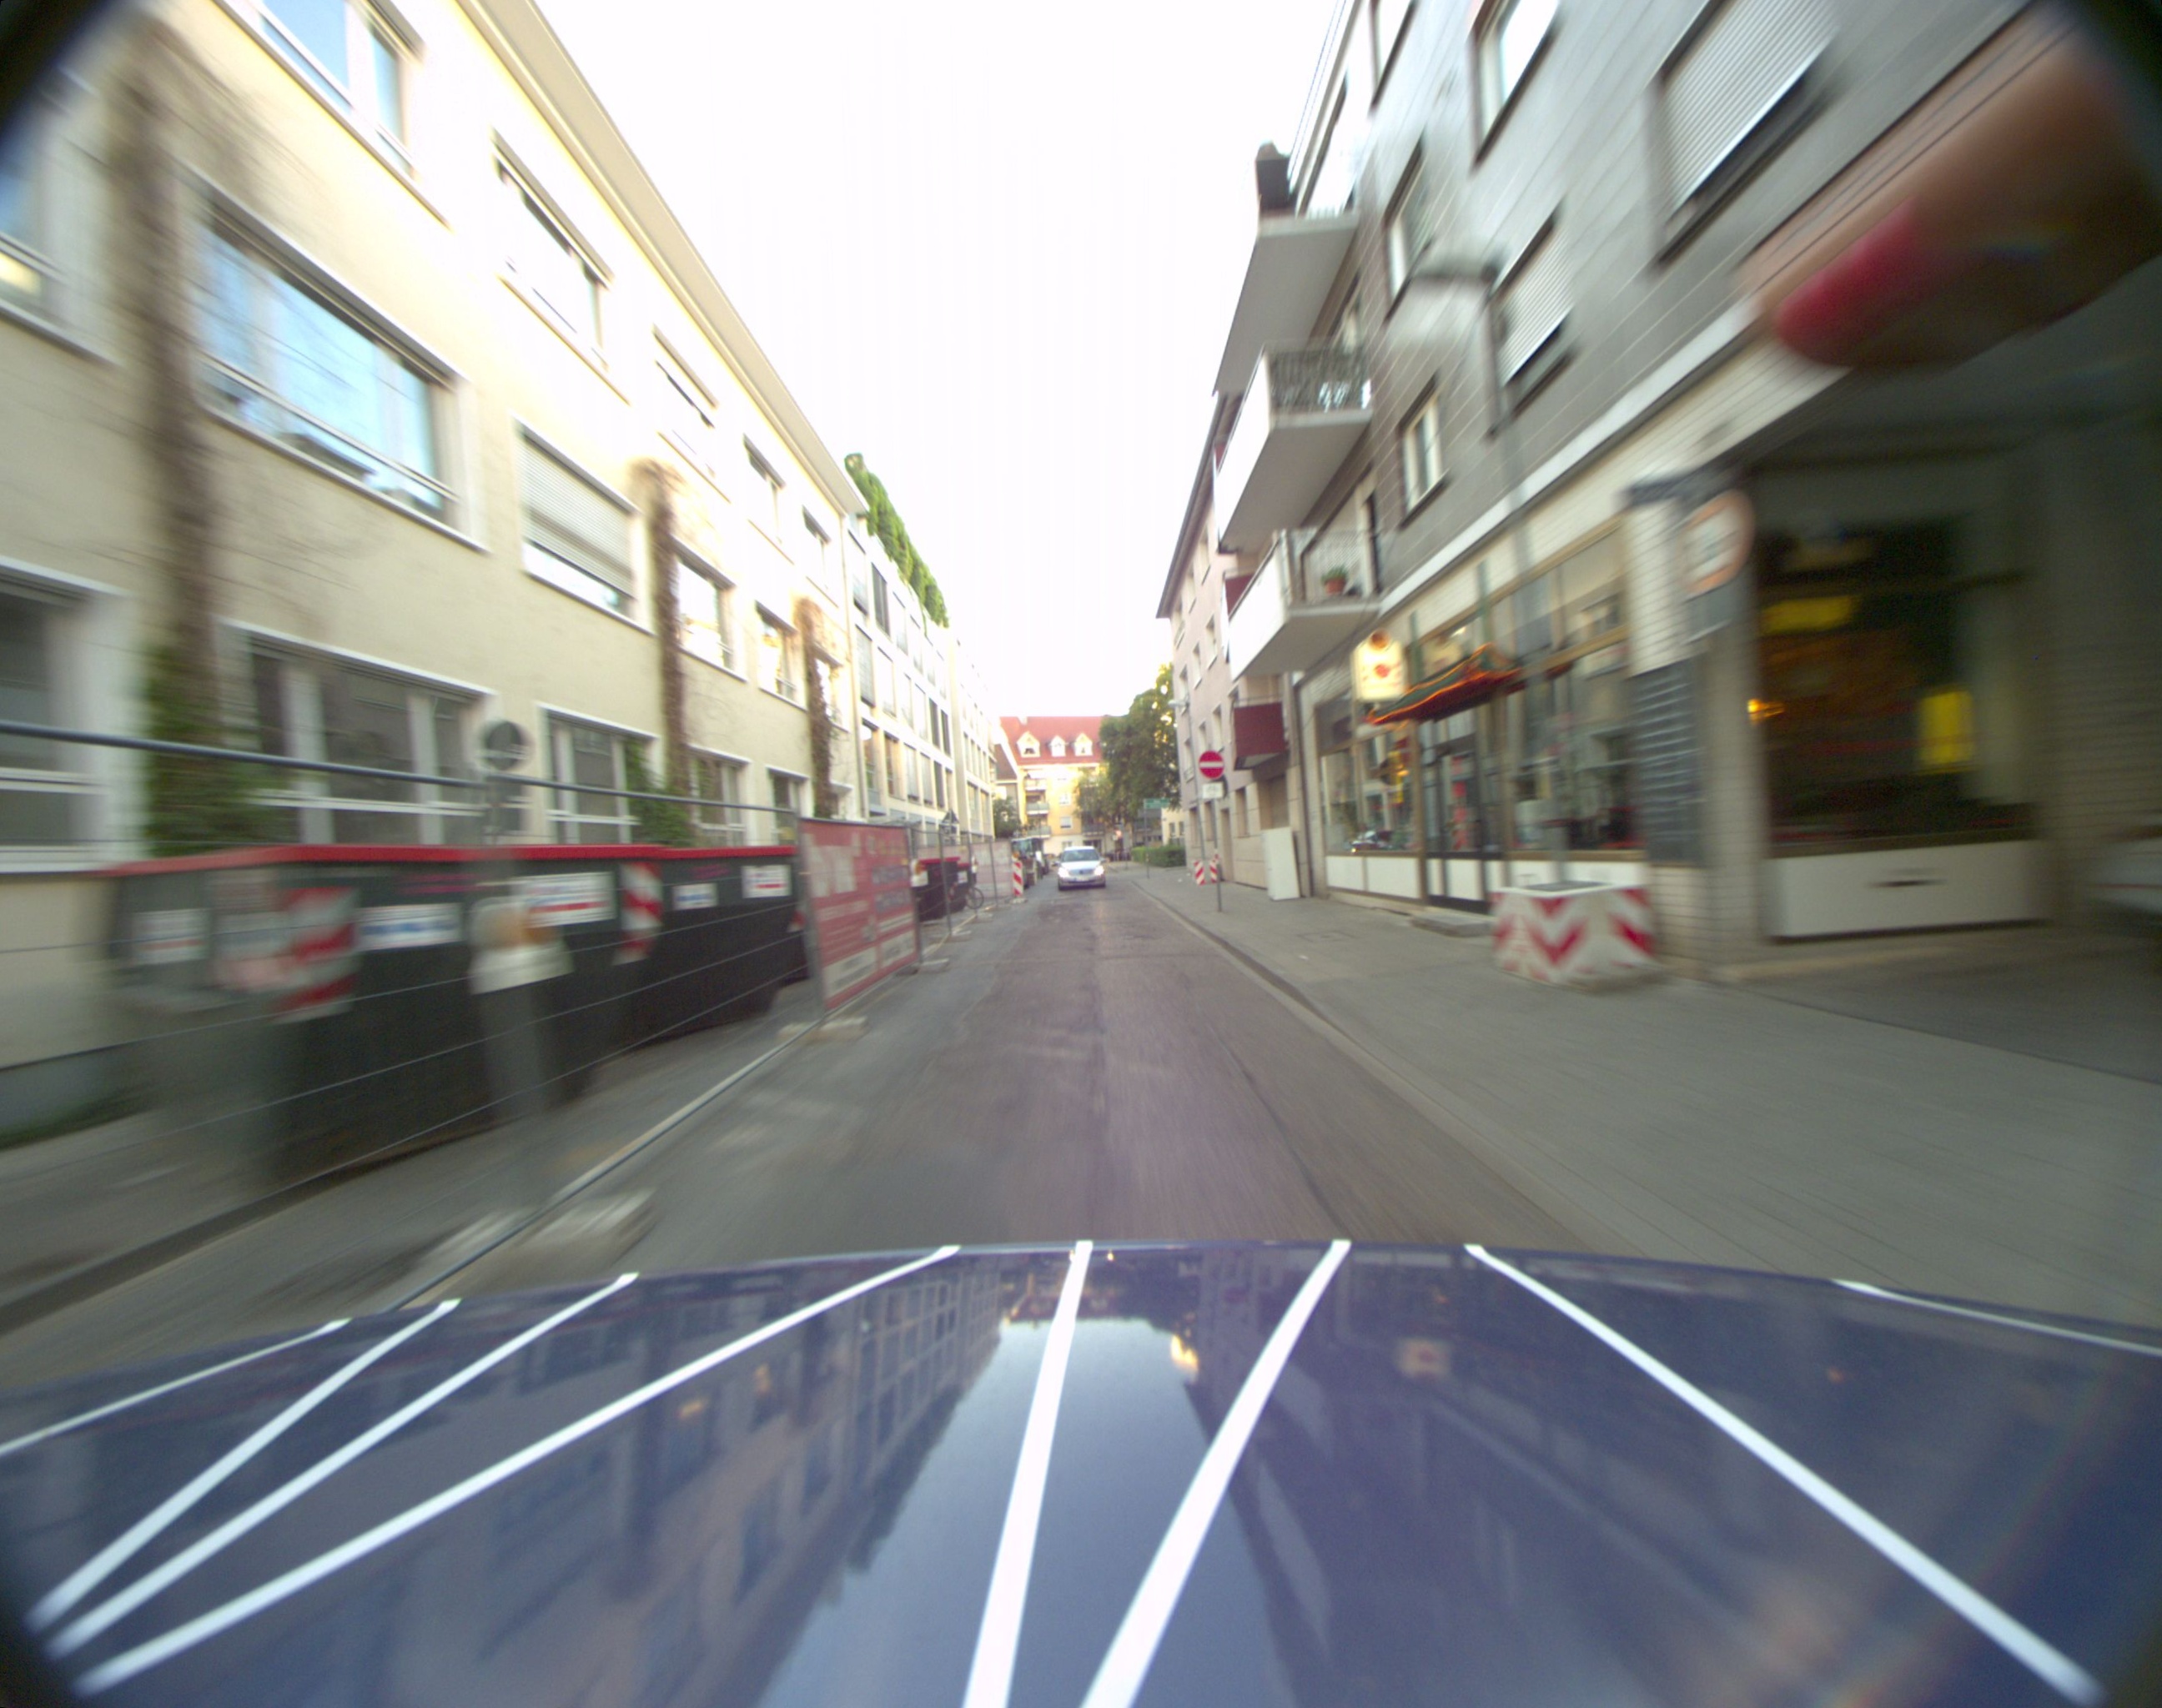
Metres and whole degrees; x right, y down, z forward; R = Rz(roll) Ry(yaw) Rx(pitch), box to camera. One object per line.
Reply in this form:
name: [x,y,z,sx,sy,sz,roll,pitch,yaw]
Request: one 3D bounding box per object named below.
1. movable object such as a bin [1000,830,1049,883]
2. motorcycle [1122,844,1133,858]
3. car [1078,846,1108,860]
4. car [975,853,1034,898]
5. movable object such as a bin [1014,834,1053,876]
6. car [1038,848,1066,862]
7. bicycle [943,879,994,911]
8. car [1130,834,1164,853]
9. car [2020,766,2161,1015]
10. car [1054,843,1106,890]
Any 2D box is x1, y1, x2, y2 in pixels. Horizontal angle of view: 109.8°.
movable object such as a bin: [-3.127,0.121,43.318,2.021,2.608,5.750,-7,0,1]
motorcycle: [4.662,-0.278,75.955,0.858,1.345,1.960,-4,1,9]
car: [1.352,-0.171,86.995,1.829,1.460,4.320,-4,3,-22]
car: [-3.066,0.823,31.164,1.792,1.463,4.445,-6,1,0]
movable object such as a bin: [-3.235,0.022,53.212,2.021,2.608,5.750,-7,1,1]
car: [-3.279,0.129,84.984,1.749,1.395,4.238,-4,3,-22]
bicycle: [-3.406,1.244,22.860,1.803,0.903,0.460,-5,0,44]
car: [7.688,-1.209,89.291,2.230,2.065,4.320,-4,3,-22]
car: [8.293,0.049,3.948,4.326,1.414,2.020,-5,1,-1]
car: [-0.011,0.468,29.742,1.804,1.607,4.273,-3,0,0]
